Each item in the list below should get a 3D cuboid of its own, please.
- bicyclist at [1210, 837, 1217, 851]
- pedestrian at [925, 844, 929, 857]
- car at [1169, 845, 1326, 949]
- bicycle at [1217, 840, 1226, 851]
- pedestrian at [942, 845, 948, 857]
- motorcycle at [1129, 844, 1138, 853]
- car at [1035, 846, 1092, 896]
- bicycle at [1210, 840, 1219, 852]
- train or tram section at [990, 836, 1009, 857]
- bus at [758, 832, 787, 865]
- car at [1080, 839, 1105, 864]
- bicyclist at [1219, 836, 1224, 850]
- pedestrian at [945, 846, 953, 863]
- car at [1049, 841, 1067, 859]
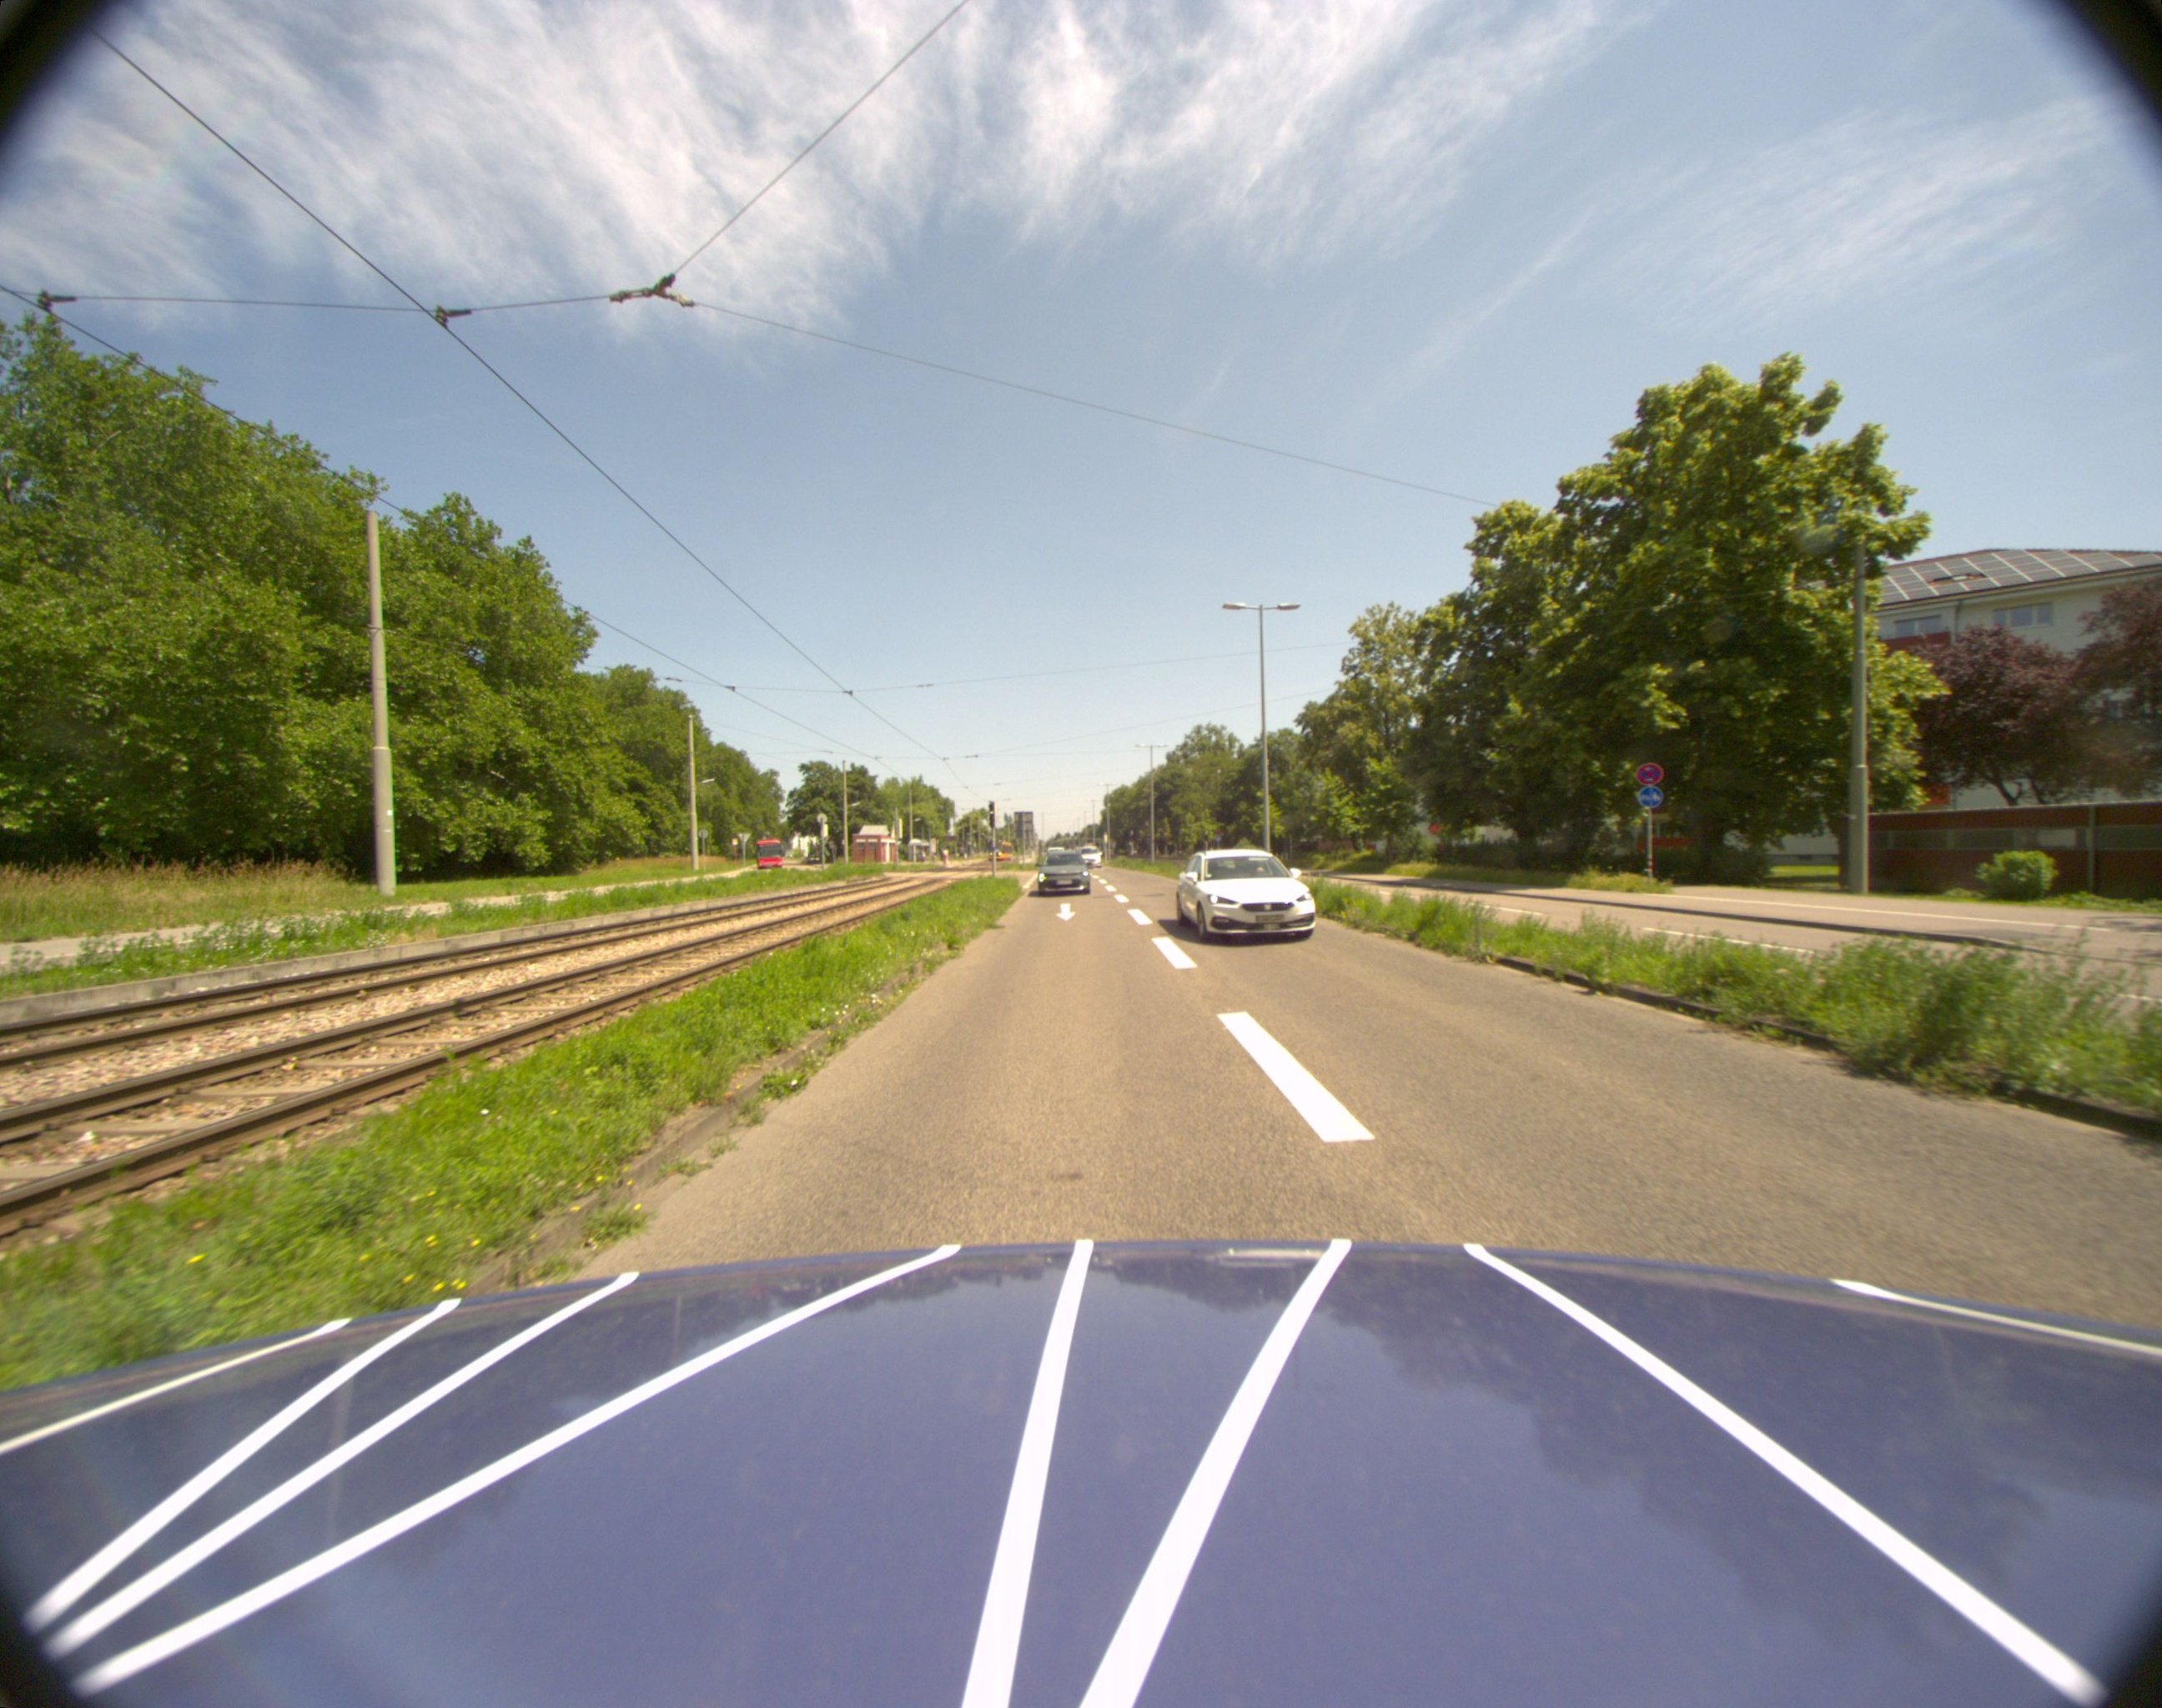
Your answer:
[{"bbox_3d":[13.322,-1.006,76.247,0.546,1.338,0.755,-1,1,-3],"label":"bicyclist"},{"bbox_3d":[-20.849,-0.437,102.985,0.382,1.764,0.740,-1,2,1],"label":"pedestrian"},{"bbox_3d":[2.709,0.612,13.335,1.772,1.460,4.110,-3,1,-1],"label":"car"},{"bbox_3d":[14.060,-0.843,76.072,0.555,1.088,1.379,-3,2,-1],"label":"bicycle"},{"bbox_3d":[-19.146,-0.412,107.093,0.707,1.754,0.657,-1,1,0],"label":"pedestrian"},{"bbox_3d":[7.999,-0.889,116.057,0.808,1.291,2.393,-1,1,-7],"label":"motorcycle"},{"bbox_3d":[-0.592,0.546,27.584,1.788,1.554,4.134,-4,1,0],"label":"car"},{"bbox_3d":[13.342,-0.801,75.783,0.590,1.126,1.615,-1,1,-2],"label":"bicycle"},{"bbox_3d":[-13.672,-1.275,127.937,2.525,3.304,7.258,-1,1,-1],"label":"train or tram section"},{"bbox_3d":[-35.801,-0.711,88.492,2.771,3.420,12.420,-3,2,-21],"label":"bus"},{"bbox_3d":[0.953,-0.252,64.007,1.998,2.002,3.999,-1,1,0],"label":"car"},{"bbox_3d":[14.043,-1.080,76.060,0.358,1.384,0.440,-3,1,1],"label":"bicyclist"},{"bbox_3d":[-13.663,0.048,78.647,0.637,1.749,0.815,-3,2,-15],"label":"pedestrian"},{"bbox_3d":[-2.698,-0.517,87.487,1.921,2.002,3.998,-1,1,-3],"label":"car"}]
